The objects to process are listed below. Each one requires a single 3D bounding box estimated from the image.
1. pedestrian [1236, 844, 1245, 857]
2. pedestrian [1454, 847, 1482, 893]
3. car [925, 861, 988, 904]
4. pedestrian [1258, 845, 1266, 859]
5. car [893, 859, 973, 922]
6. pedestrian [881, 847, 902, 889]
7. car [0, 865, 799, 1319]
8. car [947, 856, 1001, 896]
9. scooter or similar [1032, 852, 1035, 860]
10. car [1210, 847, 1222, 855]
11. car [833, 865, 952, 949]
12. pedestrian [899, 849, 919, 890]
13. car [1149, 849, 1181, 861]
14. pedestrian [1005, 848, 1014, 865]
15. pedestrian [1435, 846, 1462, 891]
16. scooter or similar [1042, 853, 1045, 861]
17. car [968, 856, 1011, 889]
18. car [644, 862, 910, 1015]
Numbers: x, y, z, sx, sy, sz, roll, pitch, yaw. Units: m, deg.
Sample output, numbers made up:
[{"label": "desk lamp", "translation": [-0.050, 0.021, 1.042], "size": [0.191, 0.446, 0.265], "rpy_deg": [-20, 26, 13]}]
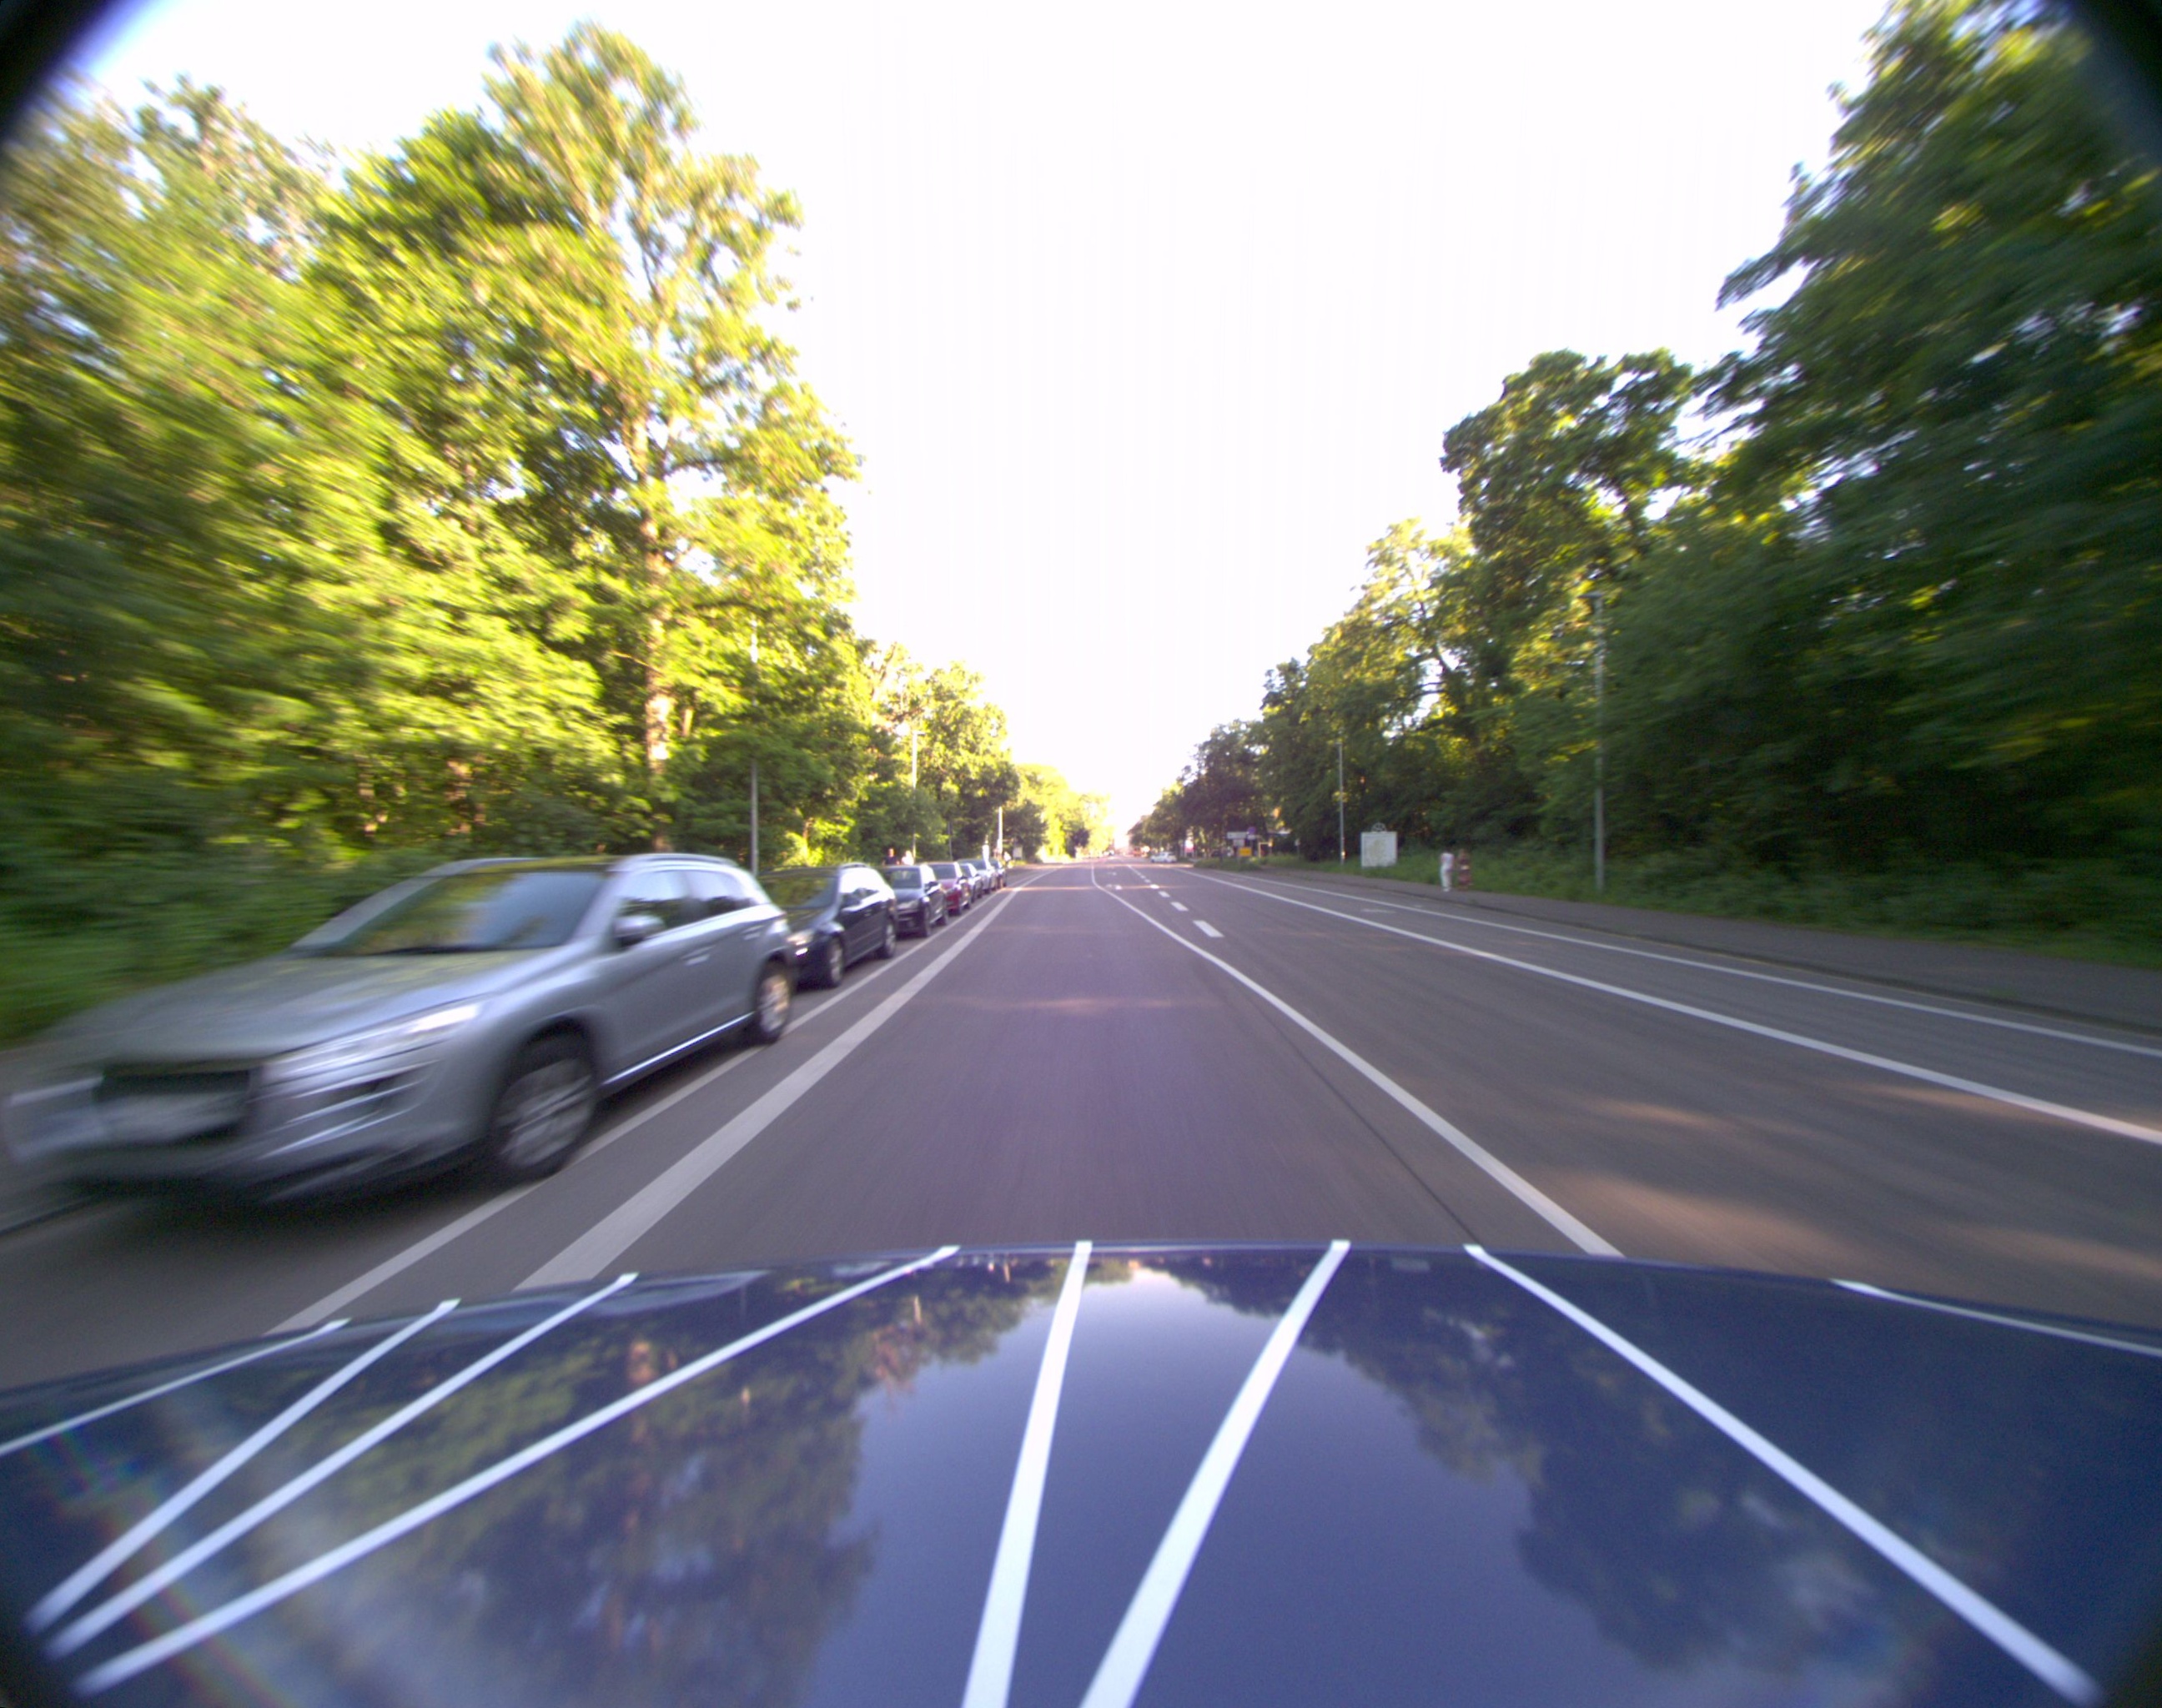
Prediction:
[{"label": "pedestrian", "translation": [21.680, -0.463, 103.260], "size": [0.738, 1.809, 0.832], "rpy_deg": [-1, 1, -35]}, {"label": "pedestrian", "translation": [14.214, 0.577, 27.897], "size": [0.676, 1.644, 0.790], "rpy_deg": [-1, 1, 6]}, {"label": "car", "translation": [-4.327, 0.966, 26.892], "size": [1.632, 1.312, 3.839], "rpy_deg": [-2, 1, -1]}, {"label": "pedestrian", "translation": [24.260, -0.234, 101.711], "size": [0.832, 1.809, 0.738], "rpy_deg": [0, 1, 31]}, {"label": "car", "translation": [-3.957, 0.924, 20.898], "size": [1.621, 1.460, 3.723], "rpy_deg": [-3, 1, -4]}, {"label": "pedestrian", "translation": [-8.209, 0.613, 32.928], "size": [0.677, 1.788, 0.953], "rpy_deg": [1, 1, -3]}, {"label": "car", "translation": [-3.487, 0.920, 4.829], "size": [1.803, 1.586, 4.028], "rpy_deg": [-1, 1, 1]}, {"label": "car", "translation": [-4.460, 0.867, 32.232], "size": [1.741, 1.516, 4.358], "rpy_deg": [-1, 0, -1]}, {"label": "scooter or similar", "translation": [-6.791, 0.320, 109.194], "size": [0.386, 1.177, 1.103], "rpy_deg": [0, 1, 2]}, {"label": "car", "translation": [25.728, -0.579, 144.638], "size": [1.758, 1.631, 3.613], "rpy_deg": [0, 1, 4]}, {"label": "car", "translation": [-3.753, 0.985, 15.759], "size": [1.598, 1.393, 3.797], "rpy_deg": [-2, 1, -2]}, {"label": "pedestrian", "translation": [-7.517, 0.662, 33.182], "size": [0.677, 1.788, 0.789], "rpy_deg": [1, 1, -3]}, {"label": "car", "translation": [11.191, 0.135, 101.198], "size": [1.835, 1.517, 3.932], "rpy_deg": [-1, 1, -43]}, {"label": "pedestrian", "translation": [-7.721, 0.270, 82.237], "size": [0.809, 1.789, 0.734], "rpy_deg": [-1, 1, 1]}, {"label": "pedestrian", "translation": [13.533, 0.521, 27.972], "size": [0.676, 1.644, 0.790], "rpy_deg": [-1, 1, 6]}, {"label": "scooter or similar", "translation": [-5.891, 0.442, 119.442], "size": [0.386, 1.177, 1.103], "rpy_deg": [0, 1, 2]}, {"label": "car", "translation": [-4.383, 0.848, 36.775], "size": [1.661, 1.443, 4.019], "rpy_deg": [-1, 0, -2]}, {"label": "car", "translation": [-3.813, 0.945, 10.528], "size": [1.812, 1.510, 4.503], "rpy_deg": [-3, 0, 0]}]
